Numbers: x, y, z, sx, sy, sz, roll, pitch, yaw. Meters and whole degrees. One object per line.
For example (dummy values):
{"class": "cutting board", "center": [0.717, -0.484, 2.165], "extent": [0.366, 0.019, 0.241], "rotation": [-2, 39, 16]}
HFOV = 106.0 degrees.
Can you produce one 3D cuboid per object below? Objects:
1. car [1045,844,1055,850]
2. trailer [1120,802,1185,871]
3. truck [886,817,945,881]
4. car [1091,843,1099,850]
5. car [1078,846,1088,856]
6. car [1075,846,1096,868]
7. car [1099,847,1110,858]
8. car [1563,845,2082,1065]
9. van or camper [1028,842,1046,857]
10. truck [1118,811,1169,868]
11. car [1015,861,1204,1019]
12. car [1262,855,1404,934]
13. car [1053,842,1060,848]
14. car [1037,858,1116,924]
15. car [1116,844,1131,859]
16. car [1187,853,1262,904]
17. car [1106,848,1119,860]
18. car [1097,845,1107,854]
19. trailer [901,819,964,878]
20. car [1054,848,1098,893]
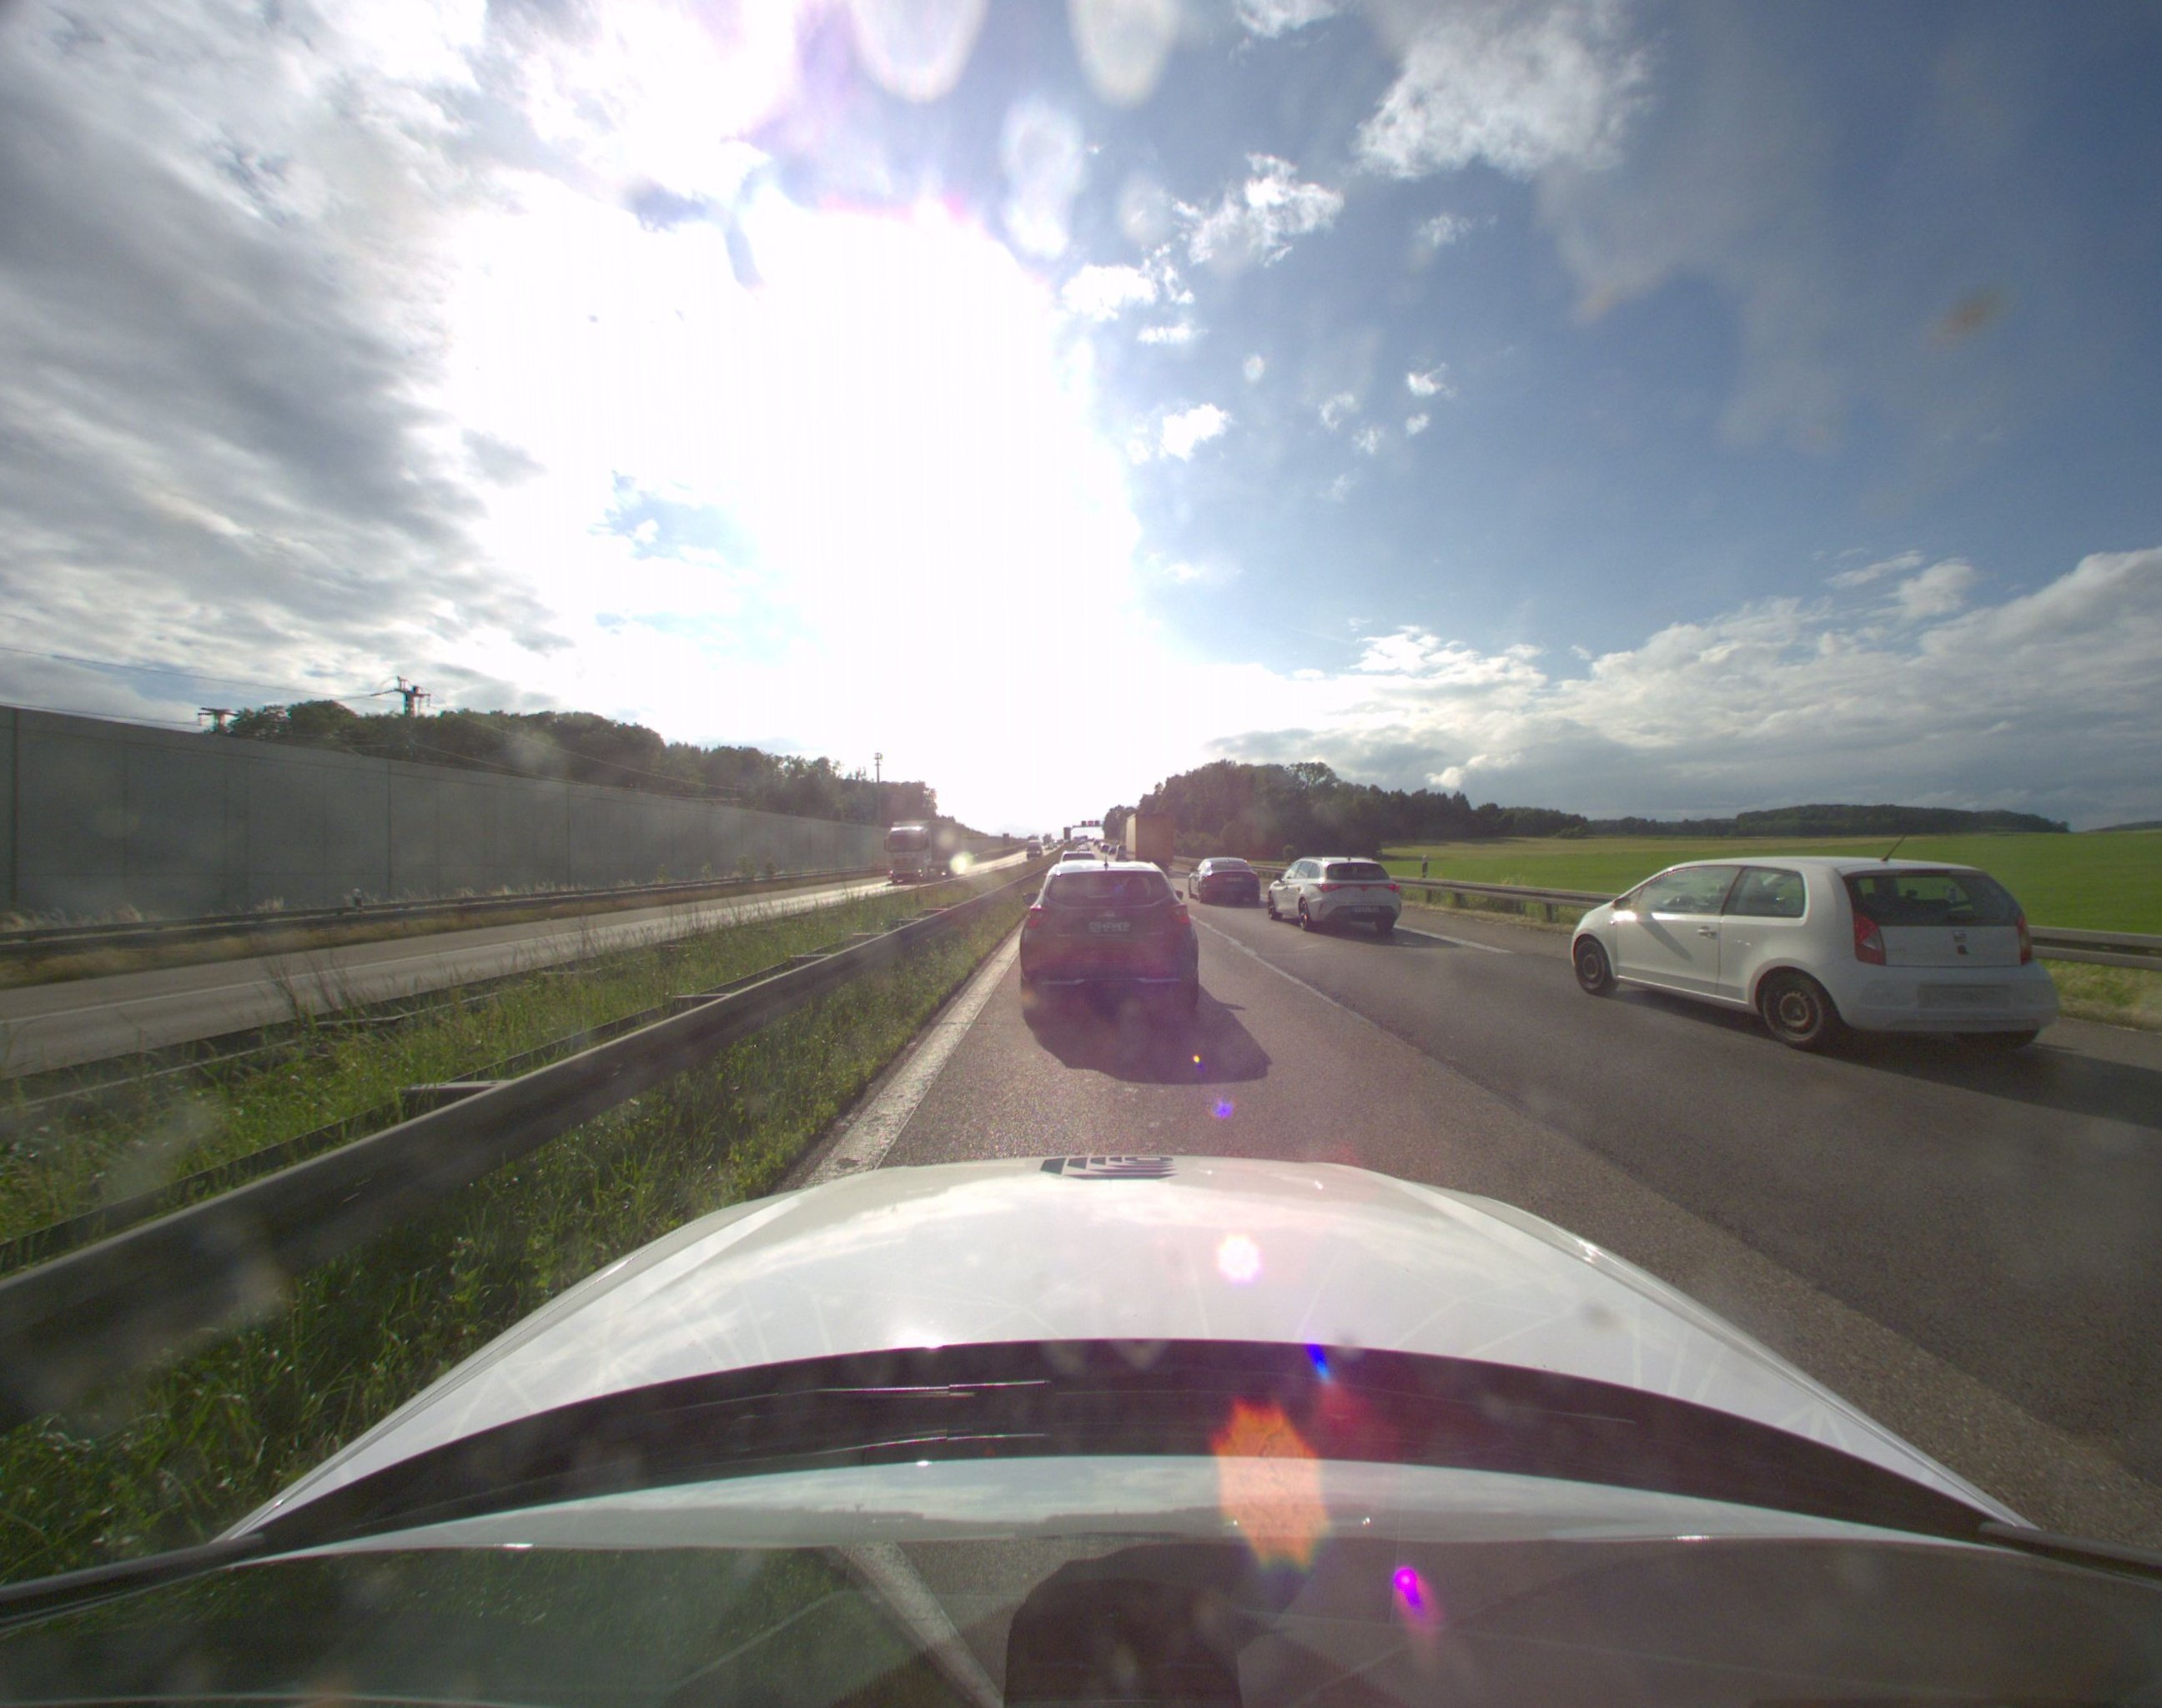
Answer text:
{"class": "car", "center": [-7.269, -1.608, 191.176], "extent": [1.986, 1.486, 4.399], "rotation": [0, -1, 1]}
{"class": "trailer", "center": [4.980, -1.092, 59.599], "extent": [3.538, 4.457, 12.718], "rotation": [0, -1, 0]}
{"class": "truck", "center": [-11.159, -0.303, 55.539], "extent": [2.629, 4.098, 7.000], "rotation": [0, -1, 0]}
{"class": "car", "center": [3.884, -2.015, 221.160], "extent": [1.987, 2.014, 3.998], "rotation": [0, -1, -1]}
{"class": "car", "center": [0.318, -0.538, 167.452], "extent": [1.987, 2.014, 3.998], "rotation": [0, -1, -1]}
{"class": "car", "center": [0.405, 0.303, 80.136], "extent": [1.987, 2.014, 3.998], "rotation": [0, -1, -1]}
{"class": "car", "center": [4.474, -0.307, 155.797], "extent": [1.987, 2.014, 3.998], "rotation": [0, -1, -1]}
{"class": "car", "center": [6.094, 0.679, 7.277], "extent": [1.544, 1.495, 3.376], "rotation": [0, 0, -1]}
{"class": "van or camper", "center": [-6.607, -0.600, 122.692], "extent": [2.158, 2.205, 6.260], "rotation": [0, -1, 2]}
{"class": "truck", "center": [4.950, -1.070, 66.092], "extent": [3.571, 4.380, 6.686], "rotation": [0, -1, -1]}
{"class": "car", "center": [0.314, 0.799, 9.112], "extent": [1.703, 1.426, 3.379], "rotation": [-1, -1, 2]}
{"class": "car", "center": [5.101, 0.766, 17.043], "extent": [1.616, 1.445, 4.144], "rotation": [0, -1, -1]}
{"class": "car", "center": [-6.549, -2.498, 217.026], "extent": [1.797, 1.516, 4.691], "rotation": [0, -1, 1]}
{"class": "car", "center": [-0.052, 0.799, 18.982], "extent": [1.668, 1.367, 3.597], "rotation": [-1, -1, 1]}
{"class": "car", "center": [5.111, -0.308, 98.430], "extent": [1.661, 1.755, 3.328], "rotation": [0, -1, 2]}
{"class": "car", "center": [4.487, 0.750, 25.980], "extent": [1.741, 1.475, 4.147], "rotation": [-1, -1, 1]}
{"class": "car", "center": [5.280, 0.019, 137.426], "extent": [1.987, 2.014, 3.998], "rotation": [0, -1, -1]}
{"class": "car", "center": [4.686, -1.019, 181.374], "extent": [1.987, 2.014, 3.998], "rotation": [0, -1, -1]}
{"class": "trailer", "center": [-11.205, -0.304, 62.658], "extent": [2.646, 4.081, 12.392], "rotation": [0, -1, -1]}
{"class": "car", "center": [-0.148, 0.647, 32.874], "extent": [1.668, 1.726, 3.597], "rotation": [-1, -1, 1]}
